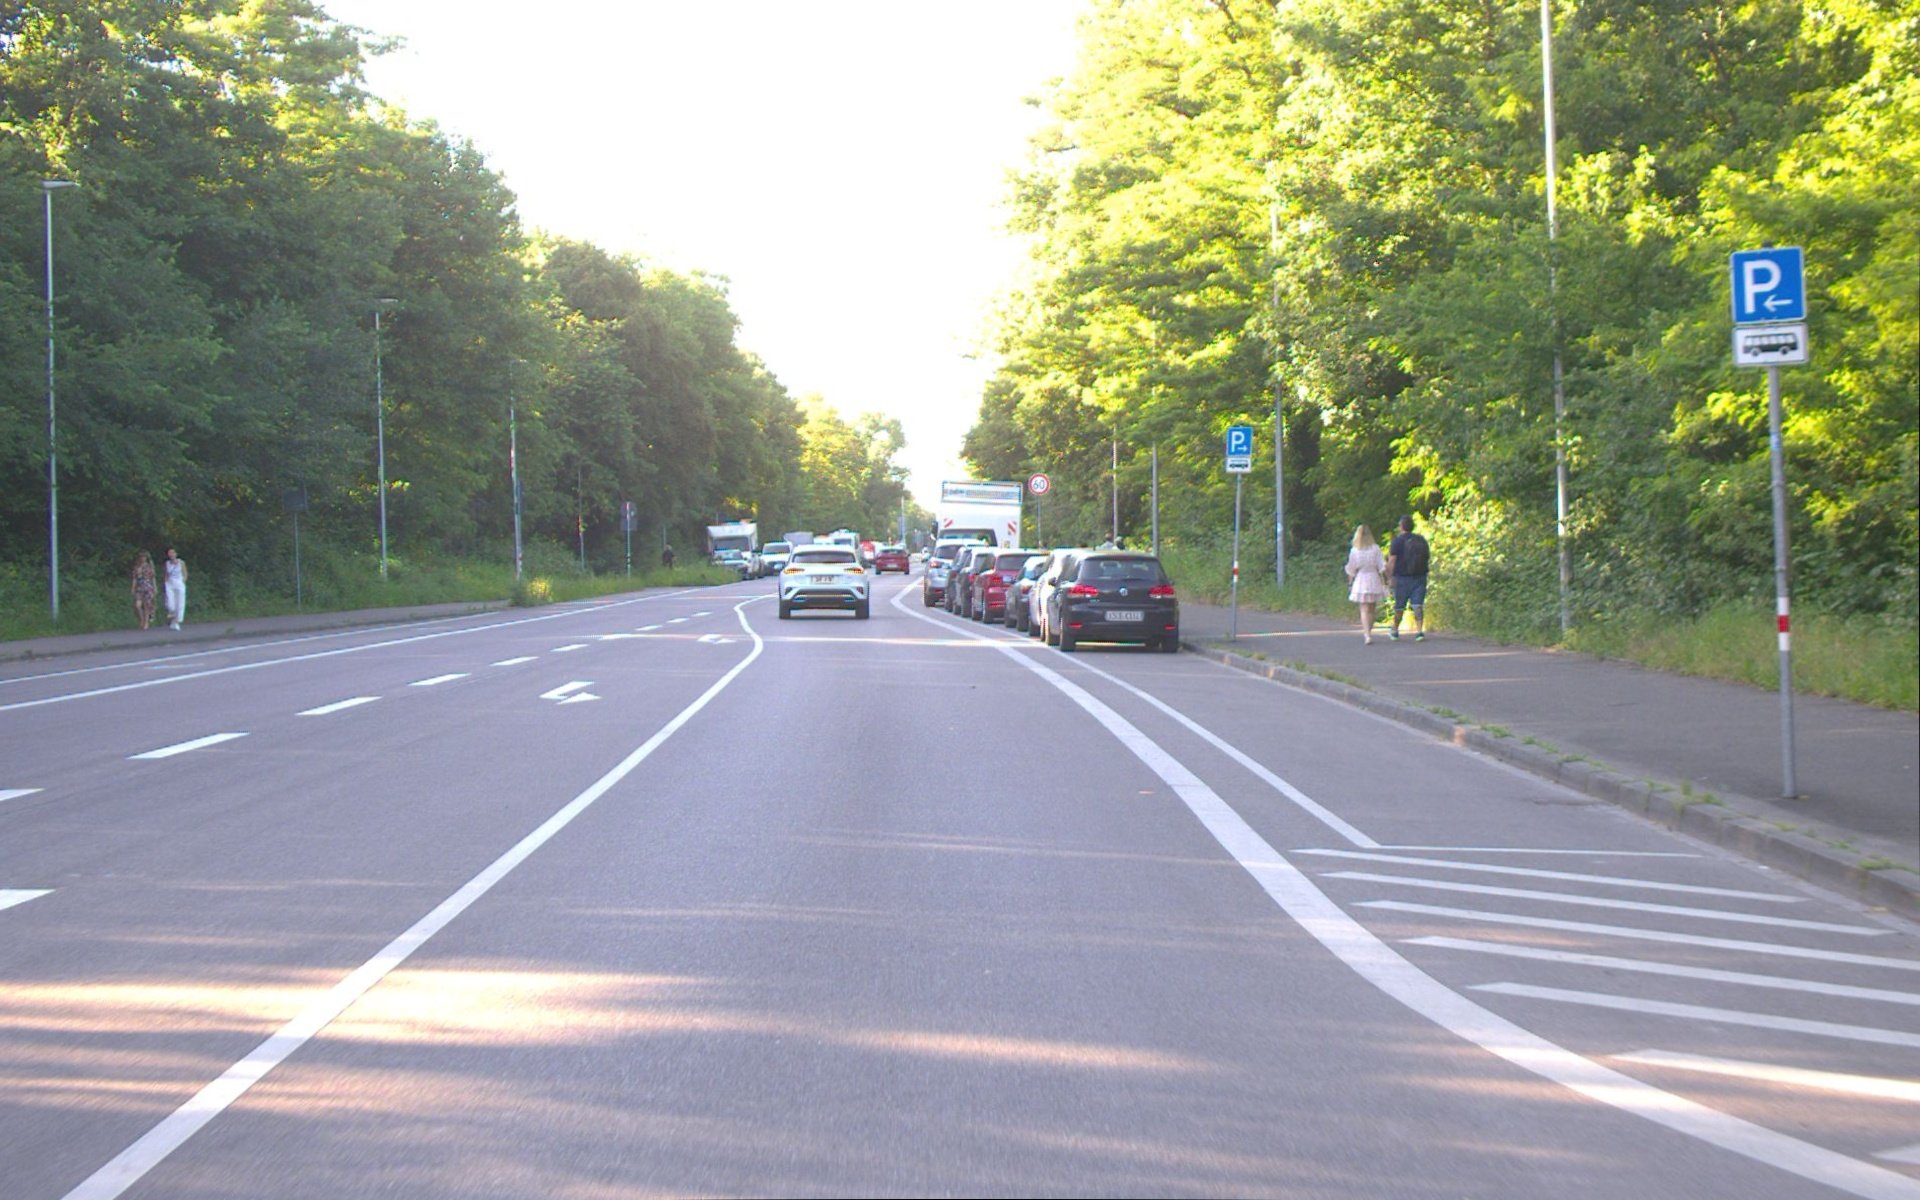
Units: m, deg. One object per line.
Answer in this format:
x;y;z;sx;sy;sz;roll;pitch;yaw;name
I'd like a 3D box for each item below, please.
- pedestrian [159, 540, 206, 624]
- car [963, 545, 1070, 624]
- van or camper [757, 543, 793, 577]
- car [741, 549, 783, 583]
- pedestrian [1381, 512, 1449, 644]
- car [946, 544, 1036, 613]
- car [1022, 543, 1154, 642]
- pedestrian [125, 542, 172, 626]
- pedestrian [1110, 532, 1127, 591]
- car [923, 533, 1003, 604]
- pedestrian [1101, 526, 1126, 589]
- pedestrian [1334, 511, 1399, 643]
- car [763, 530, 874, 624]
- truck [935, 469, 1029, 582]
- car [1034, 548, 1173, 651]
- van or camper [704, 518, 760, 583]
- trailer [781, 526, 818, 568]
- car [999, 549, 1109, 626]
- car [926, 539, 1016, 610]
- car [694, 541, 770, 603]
-15.396;-0.369;68.094;0.675;1.647;0.790;-1;1;4;pedestrian
1.072;-0.319;67.048;1.616;1.464;3.725;1;1;-6;car
-10.651;-2.310;198.051;1.835;1.905;4.856;-2;1;0;van or camper
-9.064;-1.571;157.558;1.827;1.471;4.682;-2;1;-3;car
6.364;-0.312;48.107;0.675;1.793;0.953;-3;1;-5;pedestrian
0.635;-0.476;72.825;1.594;1.396;3.799;1;1;-4;car
2.042;-0.157;55.892;1.737;1.519;4.360;-1;1;-3;car
-16.080;-0.328;68.152;0.675;1.647;0.790;-1;1;4;pedestrian
4.275;-1.038;92.844;0.394;1.582;0.482;-1;1;0;pedestrian
0.080;-0.750;80.088;1.798;1.589;4.029;-1;1;1;car
4.334;-1.191;96.957;0.618;1.758;0.907;-1;1;0;pedestrian
5.666;-0.326;47.966;0.675;1.793;0.790;-3;1;-5;pedestrian
-2.851;-0.486;69.956;2.029;1.834;4.029;-1;1;1;car
0.649;-2.380;111.107;2.832;3.485;8.579;-1;1;-1;truck
2.106;-0.042;51.448;1.656;1.447;4.021;-1;1;-4;car
-10.935;-2.370;165.208;2.314;2.960;7.112;-3;1;-2;van or camper
-10.306;-3.416;221.044;1.993;2.589;4.416;-3;1;0;trailer
1.646;-0.238;61.388;1.628;1.315;3.841;0;1;-3;car
0.223;-0.599;77.974;1.807;1.514;4.505;2;1;-2;car
-5.845;-0.739;88.592;1.807;1.514;4.505;2;1;-2;car
